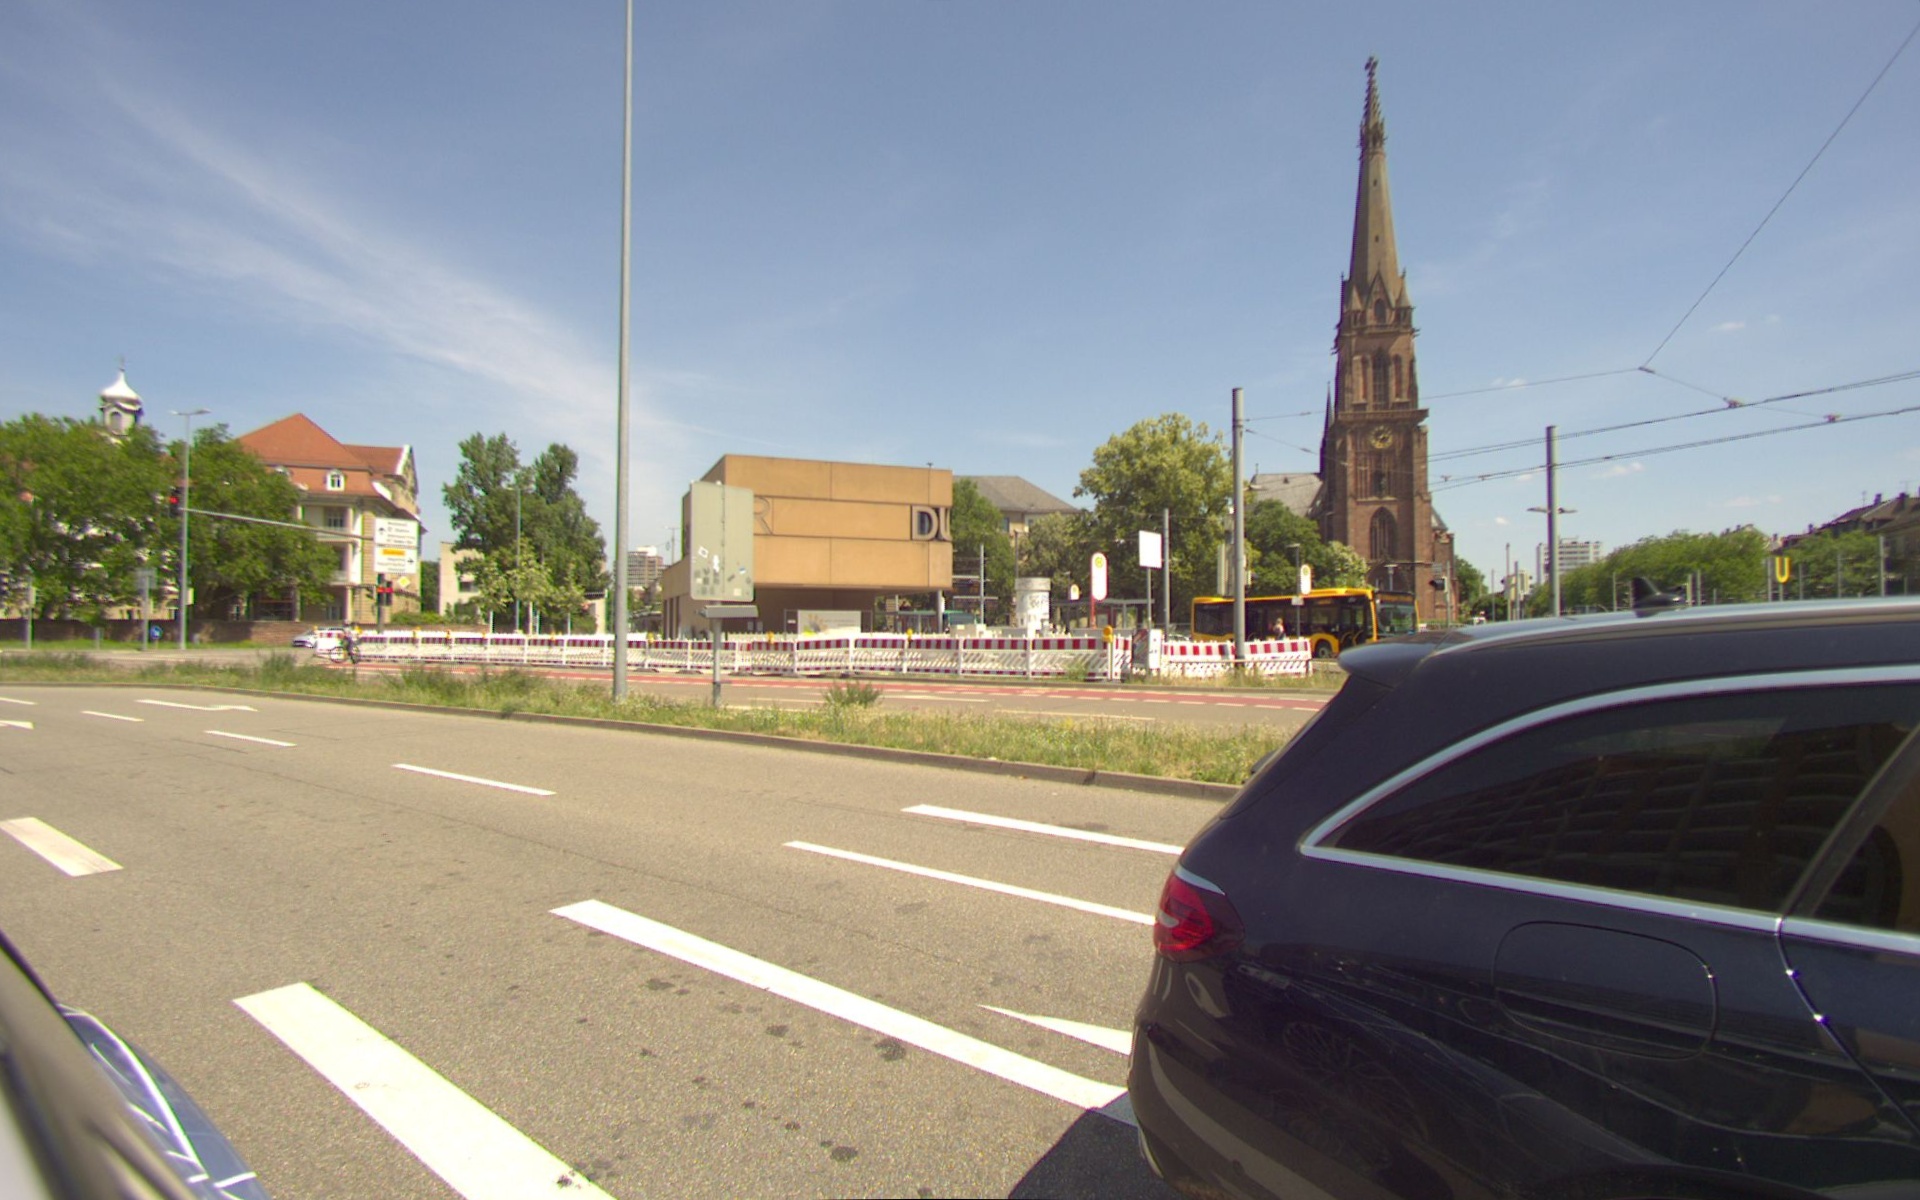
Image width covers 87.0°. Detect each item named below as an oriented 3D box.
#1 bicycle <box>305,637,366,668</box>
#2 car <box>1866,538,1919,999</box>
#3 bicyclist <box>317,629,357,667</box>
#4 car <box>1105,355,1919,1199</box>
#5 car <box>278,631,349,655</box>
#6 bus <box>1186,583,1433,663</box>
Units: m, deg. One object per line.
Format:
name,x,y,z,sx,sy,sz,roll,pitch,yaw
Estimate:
bicycle,-23.047,1.922,37.363,2.220,1.080,0.871,-1,0,26
car,5.200,0.555,2.959,3.736,1.588,1.725,-2,-3,42
bicyclist,-23.055,1.767,37.459,1.432,1.366,0.582,-1,0,26
car,2.628,0.549,0.825,4.803,1.653,1.778,-2,-3,42
car,-40.567,2.704,63.603,1.771,1.475,3.627,-1,-2,10
bus,14.741,1.099,44.479,2.807,3.039,12.259,1,-2,-22
